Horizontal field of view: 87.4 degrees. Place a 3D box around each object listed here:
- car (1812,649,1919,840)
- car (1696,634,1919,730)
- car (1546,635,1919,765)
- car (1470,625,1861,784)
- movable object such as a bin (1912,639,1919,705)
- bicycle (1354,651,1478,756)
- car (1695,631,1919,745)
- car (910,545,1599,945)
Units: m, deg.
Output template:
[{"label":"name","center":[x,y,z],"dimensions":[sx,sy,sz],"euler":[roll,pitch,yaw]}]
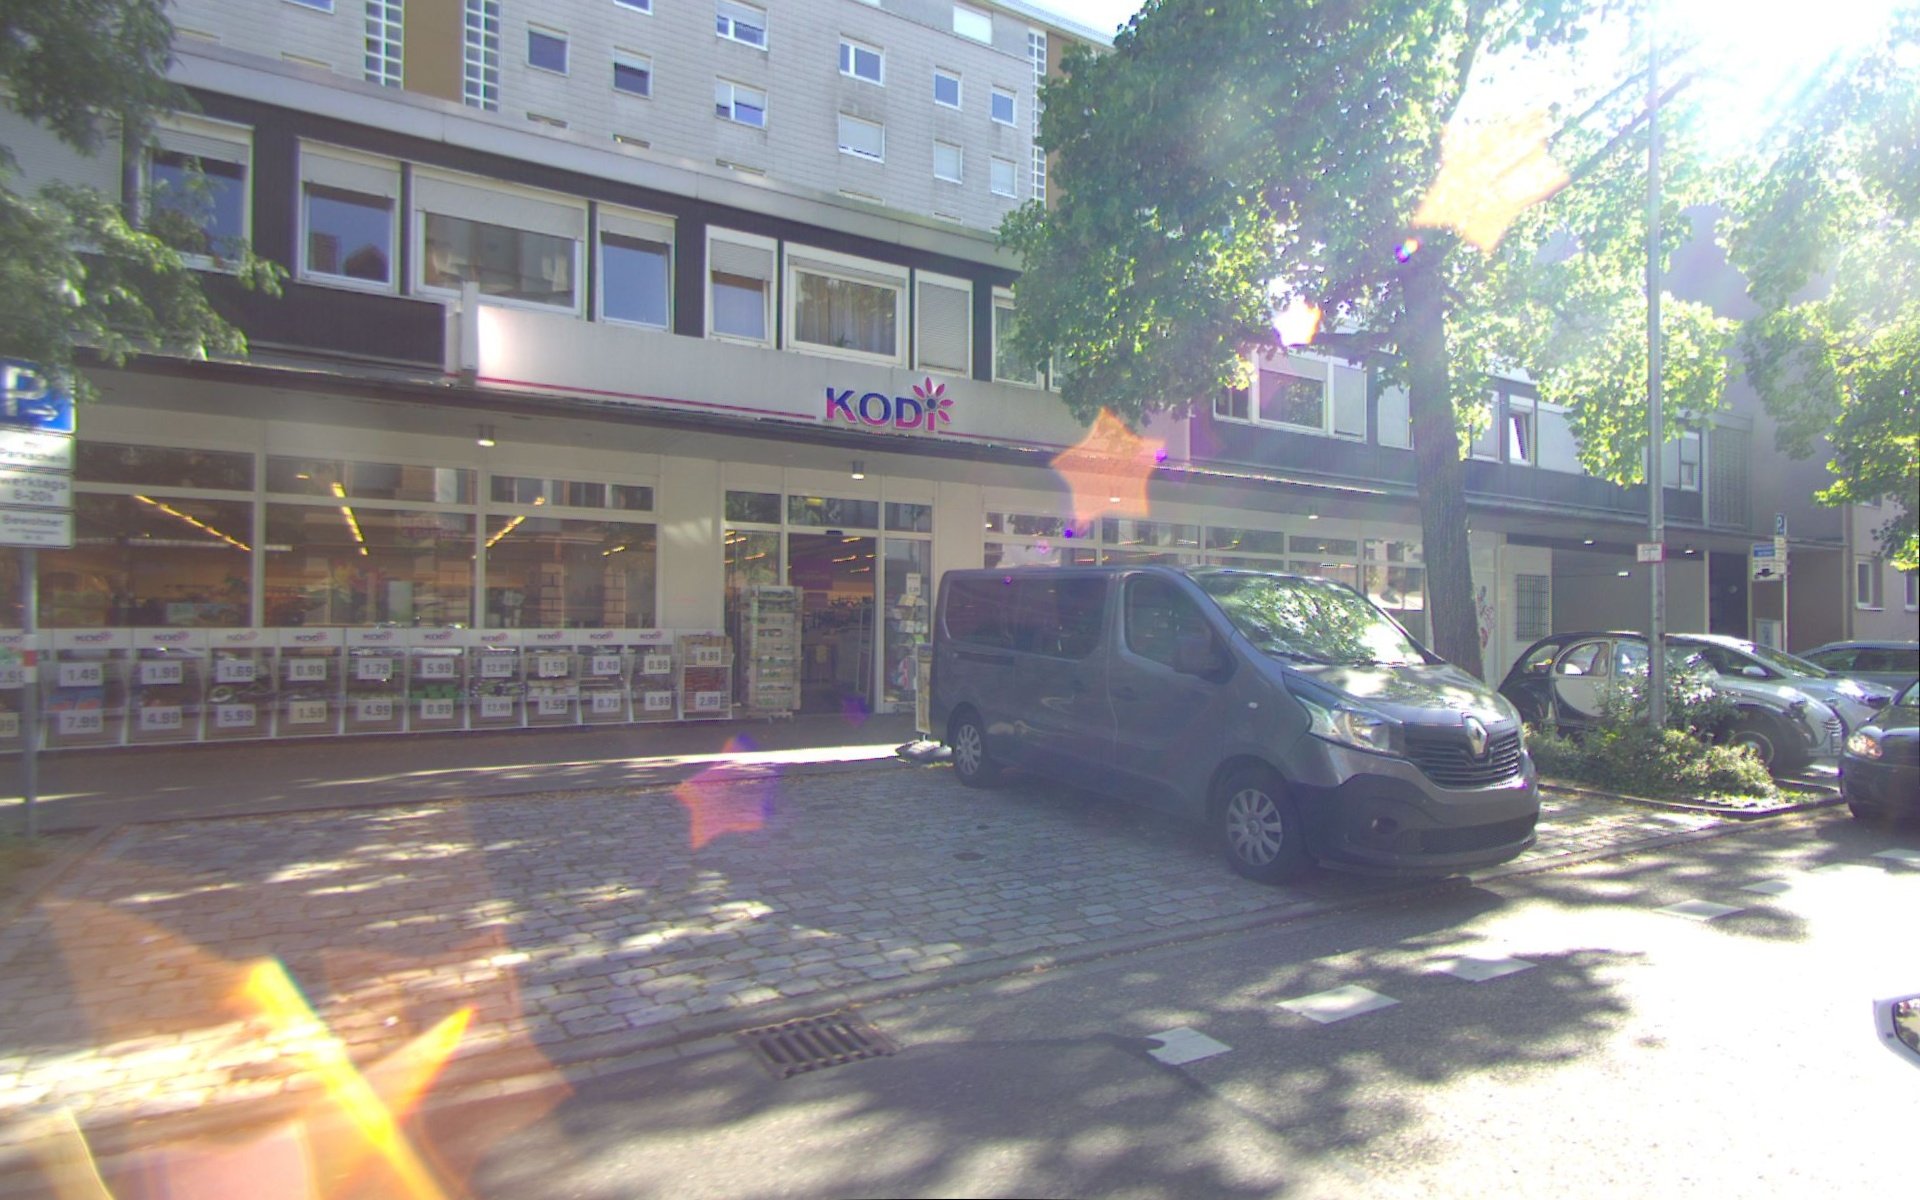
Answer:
[{"label":"car","center":[9.137,1.139,8.475],"dimensions":[3.914,1.457,1.755],"euler":[2,-3,-30]},{"label":"car","center":[15.523,1.374,17.341],"dimensions":[1.624,1.452,4.286],"euler":[1,-1,-29]},{"label":"car","center":[10.896,1.290,14.394],"dimensions":[1.793,1.483,3.965],"euler":[1,-1,-32]},{"label":"car","center":[8.452,1.140,12.354],"dimensions":[1.664,1.572,3.582],"euler":[1,-1,-29]},{"label":"movable object such as a bin","center":[21.963,1.591,22.048],"dimensions":[1.060,1.469,1.228],"euler":[1,-1,-22]},{"label":"bicycle","center":[5.984,1.323,13.323],"dimensions":[0.616,1.200,1.986],"euler":[1,0,-4]},{"label":"car","center":[13.735,1.279,14.865],"dimensions":[1.740,1.479,4.289],"euler":[1,0,-27]},{"label":"car","center":[1.680,0.756,7.822],"dimensions":[1.991,2.000,5.268],"euler":[1,-1,-29]}]
